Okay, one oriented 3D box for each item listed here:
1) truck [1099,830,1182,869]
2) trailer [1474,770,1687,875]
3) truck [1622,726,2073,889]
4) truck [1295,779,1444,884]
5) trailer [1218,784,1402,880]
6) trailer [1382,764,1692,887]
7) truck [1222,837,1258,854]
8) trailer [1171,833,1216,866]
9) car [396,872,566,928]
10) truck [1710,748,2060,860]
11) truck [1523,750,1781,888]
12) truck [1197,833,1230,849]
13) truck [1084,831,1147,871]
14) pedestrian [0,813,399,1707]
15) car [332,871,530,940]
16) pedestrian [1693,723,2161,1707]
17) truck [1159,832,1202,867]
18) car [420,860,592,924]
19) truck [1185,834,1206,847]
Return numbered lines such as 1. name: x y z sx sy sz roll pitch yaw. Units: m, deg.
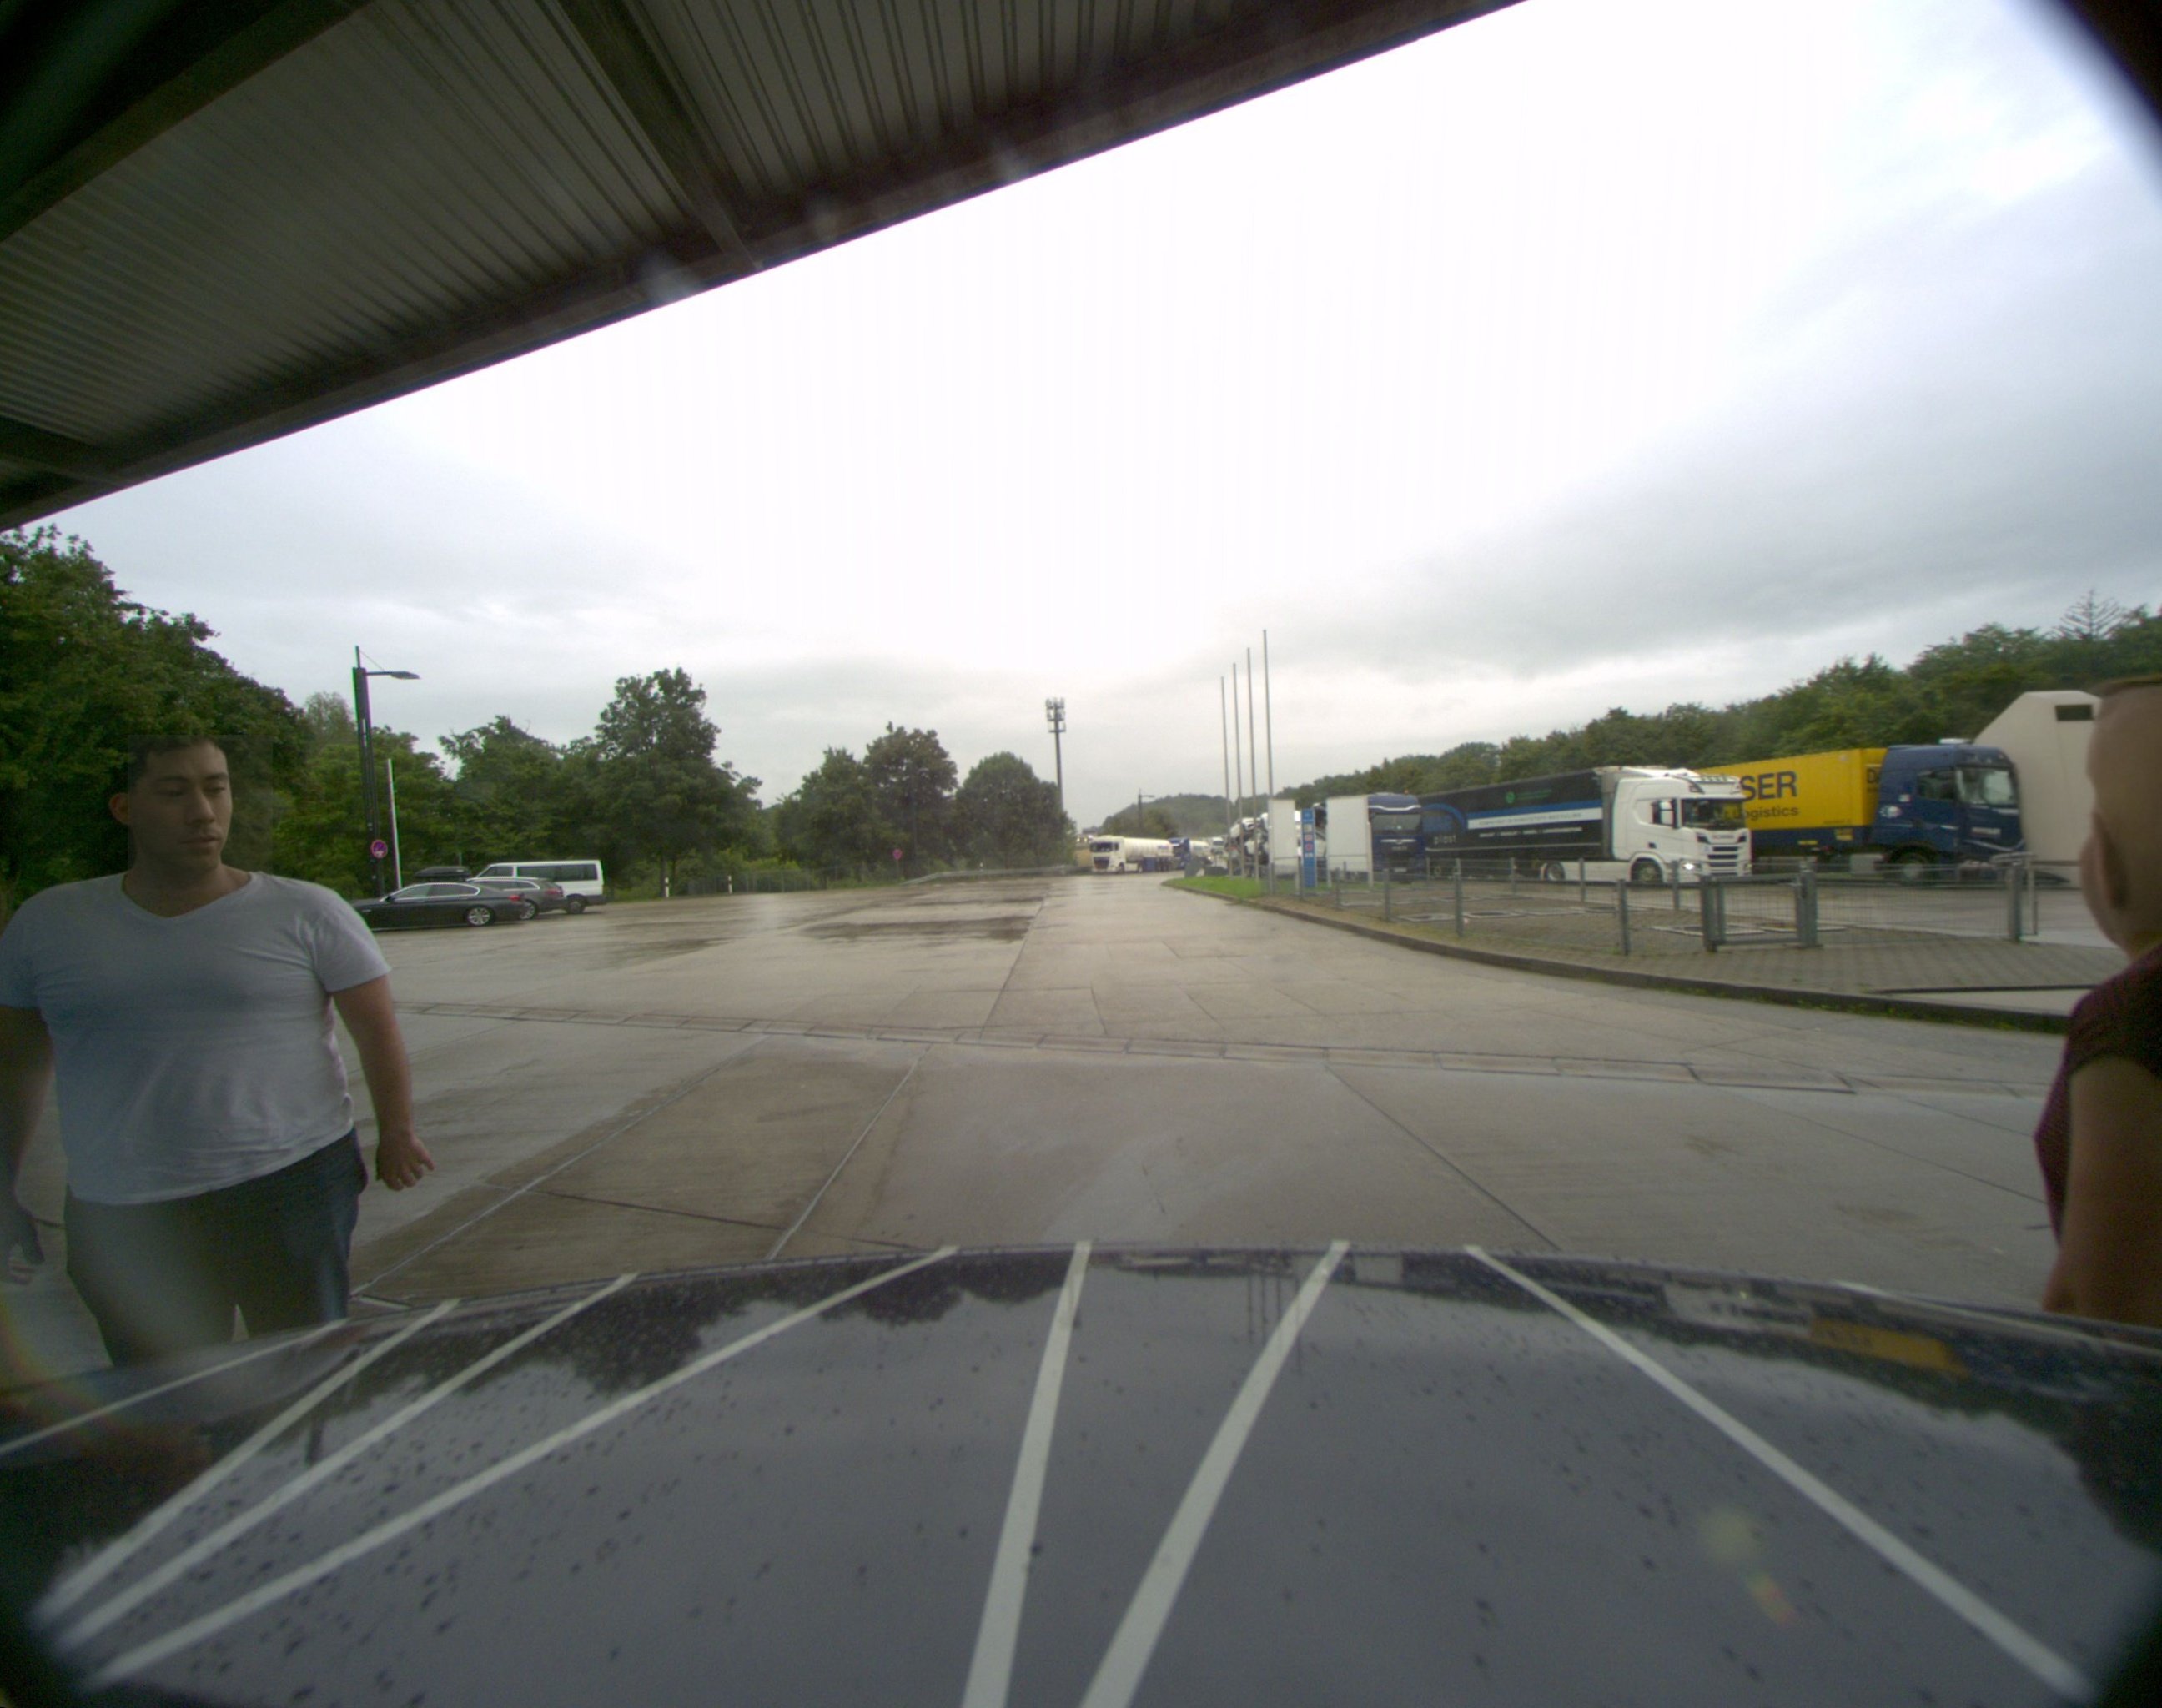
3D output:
1. truck: 6.190 -0.526 76.371 3.243 3.544 11.995 -2 1 31
2. trailer: 21.777 -1.276 34.014 2.774 4.009 8.853 -2 1 -8
3. truck: 23.055 -1.214 24.331 2.774 4.009 10.632 -2 1 -8
4. truck: 12.296 -0.924 33.269 2.990 4.009 7.259 -2 1 -7
5. trailer: 11.367 -1.001 40.961 2.990 4.009 16.597 -2 1 -7
6. trailer: 18.002 -1.000 32.199 2.991 4.009 13.795 -2 1 -9
7. truck: 34.736 -1.797 167.055 3.251 3.543 14.657 -2 0 -7
8. trailer: 13.658 -0.656 91.463 2.898 3.618 10.586 -2 1 22
9. car: -19.726 1.454 25.260 4.187 1.547 1.995 -2 0 -33
10. truck: 33.765 -1.876 32.954 2.991 4.009 10.464 -2 1 -10
11. truck: 18.980 -1.076 25.948 2.991 4.009 6.735 -2 1 -11
12. truck: 32.385 -3.099 186.258 3.251 3.543 16.548 -2 1 -7
13. truck: 3.307 -0.359 71.459 3.243 3.544 6.114 -2 1 31
14. pedestrian: -1.876 0.836 1.493 0.635 1.800 0.493 -4 3 -34
15. car: -19.104 1.449 22.623 4.187 1.720 1.995 -2 0 -33
16. pedestrian: 1.241 0.753 0.622 0.796 1.724 0.839 -1 1 -1
17. truck: 11.318 -0.529 85.756 3.045 3.745 6.475 -2 1 23
18. car: -20.709 1.301 27.637 4.780 1.974 2.010 -2 0 -36
19. truck: 33.212 -3.955 220.115 3.251 3.543 11.968 -2 1 -5
